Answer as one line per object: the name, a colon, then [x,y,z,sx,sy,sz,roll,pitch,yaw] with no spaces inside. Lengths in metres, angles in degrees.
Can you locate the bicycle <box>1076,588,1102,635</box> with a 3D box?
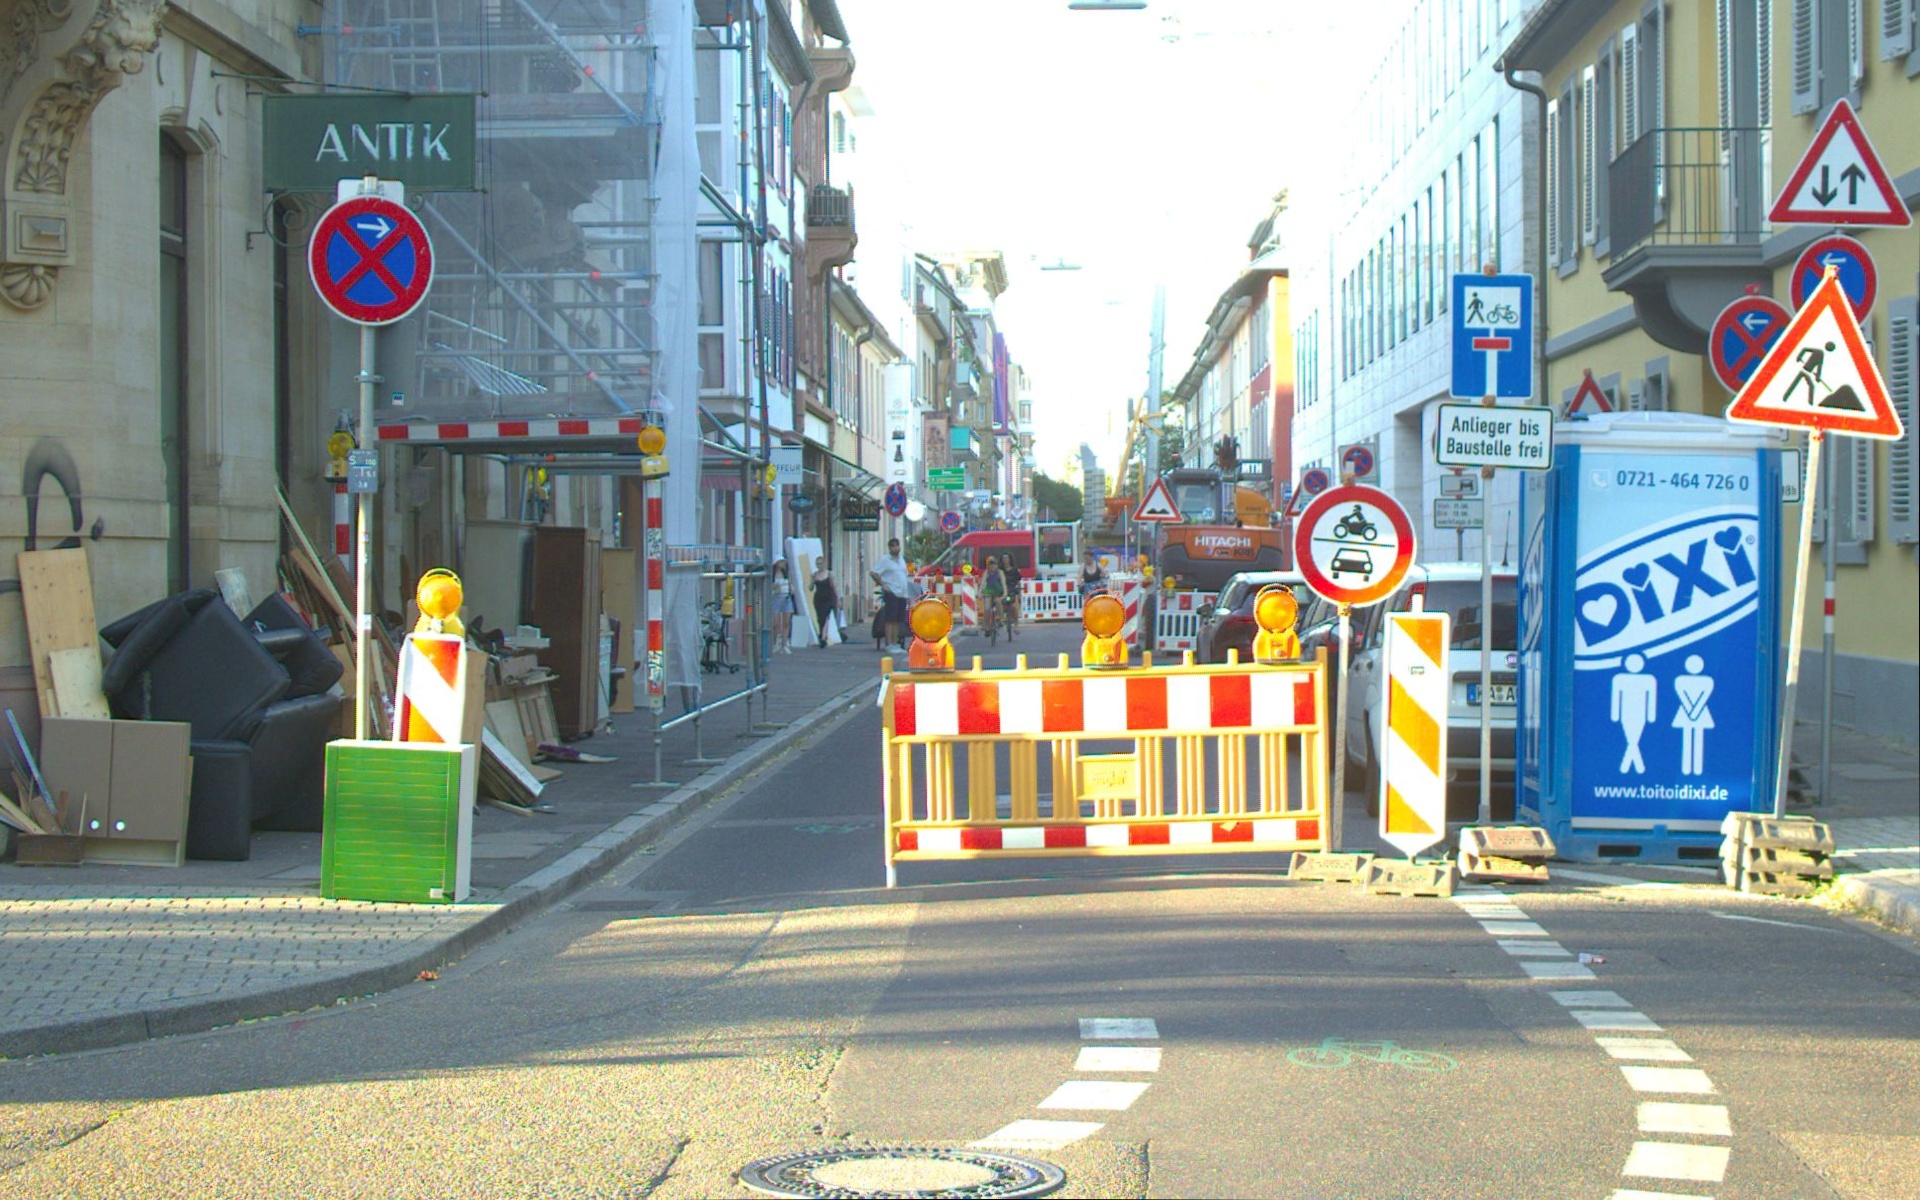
bicycle: [2.556,0.222,67.969,0.504,0.881,1.477,0,1,2]

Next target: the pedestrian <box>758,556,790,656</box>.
pedestrian: [-2.894,0.093,53.511,0.343,1.561,0.420,0,0,24]

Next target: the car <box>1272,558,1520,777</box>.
car: [3.237,0.450,26.106,1.540,1.515,3.979,0,1,3]

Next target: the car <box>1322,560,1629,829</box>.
car: [3.152,0.526,21.505,1.540,1.515,3.221,1,1,3]

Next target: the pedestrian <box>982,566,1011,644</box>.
pedestrian: [0.687,0.085,64.452,0.504,1.456,0.512,0,1,3]

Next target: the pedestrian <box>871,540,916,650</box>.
pedestrian: [-1.077,-0.082,55.305,0.504,1.758,0.512,-1,1,-39]

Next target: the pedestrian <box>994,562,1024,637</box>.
pedestrian: [0.958,-0.005,67.370,0.504,1.456,0.512,0,1,8]

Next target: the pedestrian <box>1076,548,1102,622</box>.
pedestrian: [2.551,-0.298,67.883,0.504,1.456,0.512,0,1,2]

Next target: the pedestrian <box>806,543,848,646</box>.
pedestrian: [-2.250,-0.097,58.199,0.676,1.727,0.700,0,0,-1]

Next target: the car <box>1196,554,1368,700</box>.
car: [3.501,0.263,37.793,1.718,1.515,3.221,0,1,3]
